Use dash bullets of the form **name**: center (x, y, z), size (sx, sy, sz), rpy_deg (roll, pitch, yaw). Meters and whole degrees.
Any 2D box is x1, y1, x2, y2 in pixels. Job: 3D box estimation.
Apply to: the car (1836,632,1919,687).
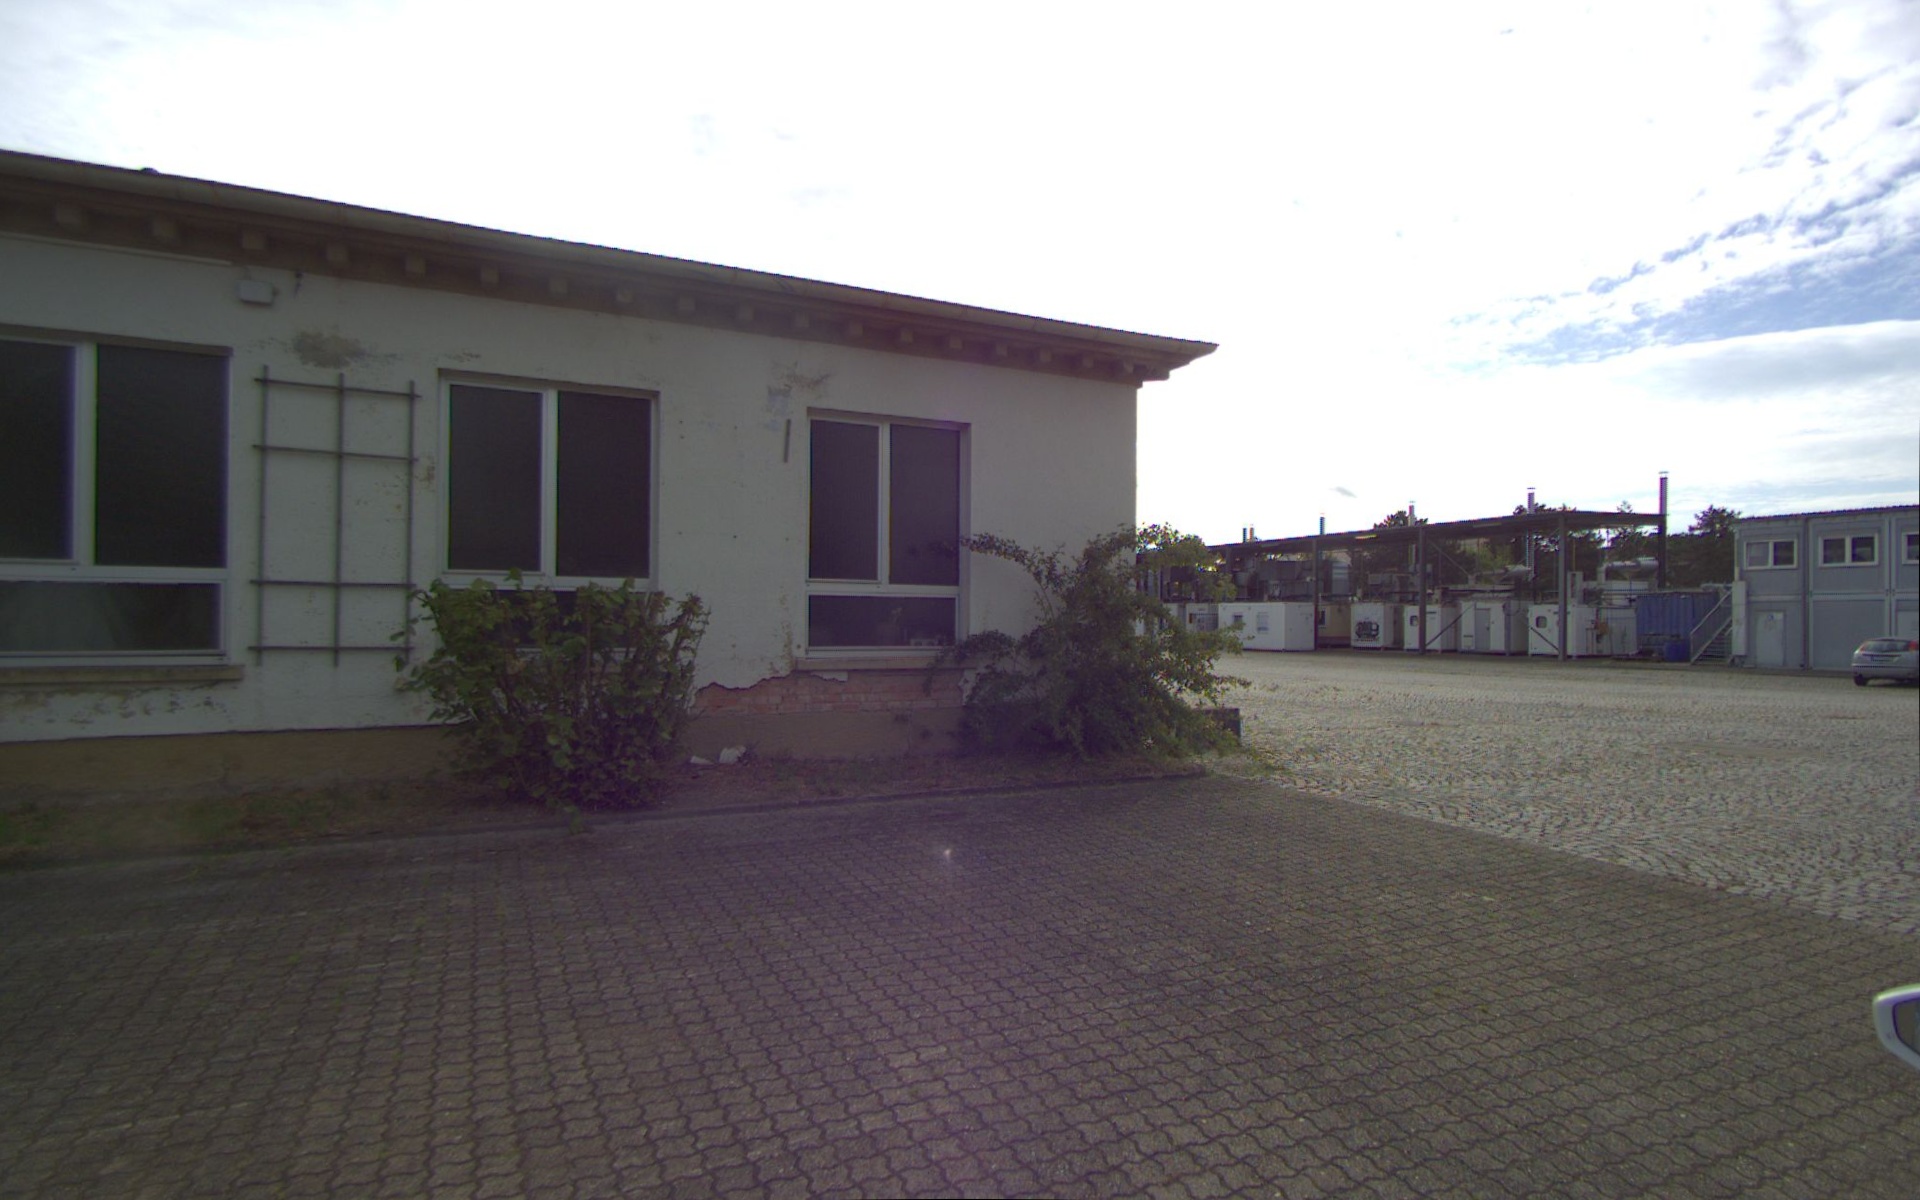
- **car**: center (29.054, 1.770, 30.886), size (3.995, 1.495, 1.899), rpy_deg (0, -1, -28)
